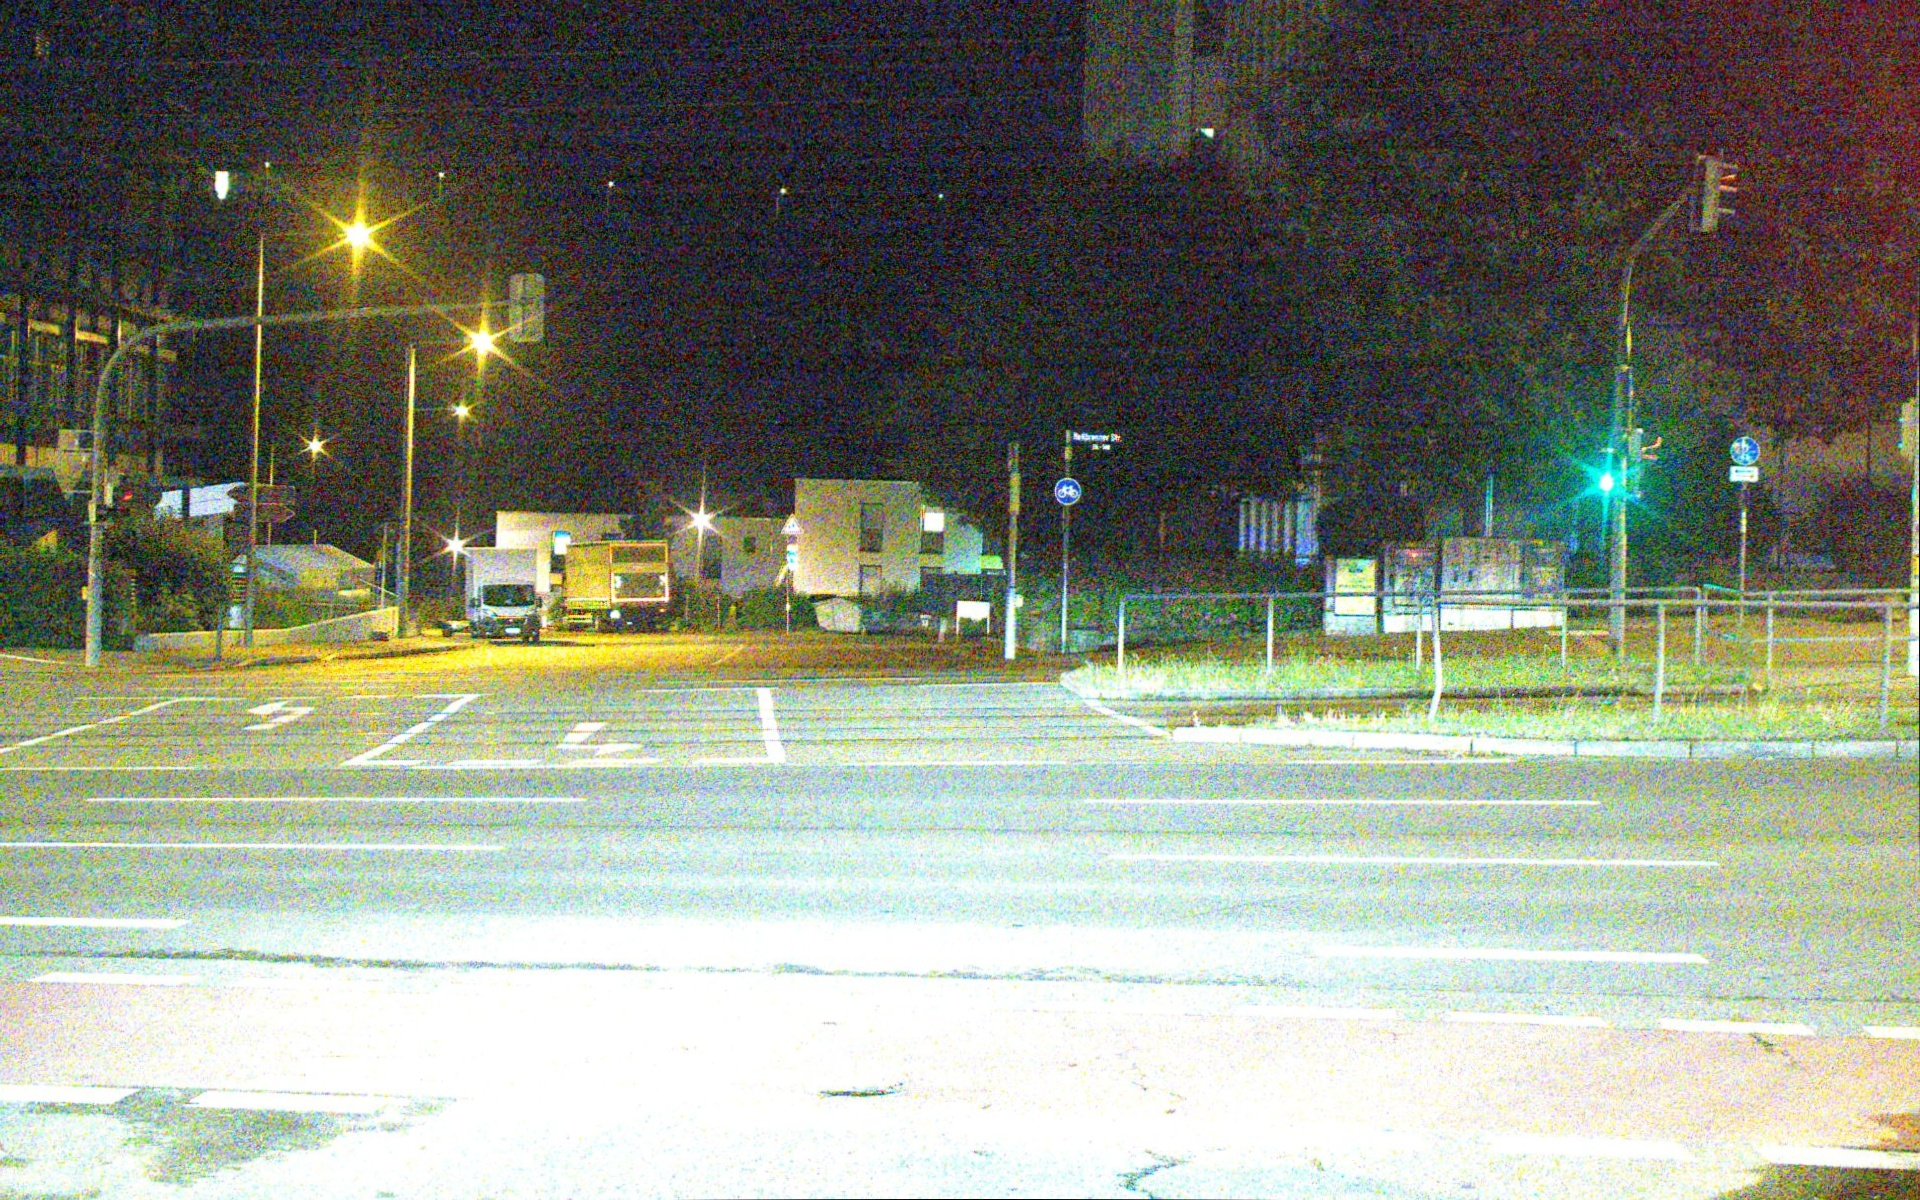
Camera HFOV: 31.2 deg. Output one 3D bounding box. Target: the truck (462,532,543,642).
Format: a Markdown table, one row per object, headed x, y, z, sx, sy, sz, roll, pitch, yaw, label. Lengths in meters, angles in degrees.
| x | y | z | sx | sy | sz | roll | pitch | yaw | label |
| --- | --- | --- | --- | --- | --- | --- | --- | --- | --- |
| -15.910 | -0.468 | 119.352 | 2.582 | 3.694 | 5.739 | 1 | 1 | -9 | truck |

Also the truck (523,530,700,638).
| x | y | z | sx | sy | sz | roll | pitch | yaw | label |
| --- | --- | --- | --- | --- | --- | --- | --- | --- | --- |
| -15.467 | -0.757 | 151.244 | 4.821 | 4.531 | 12.669 | 1 | 1 | -19 | truck |
